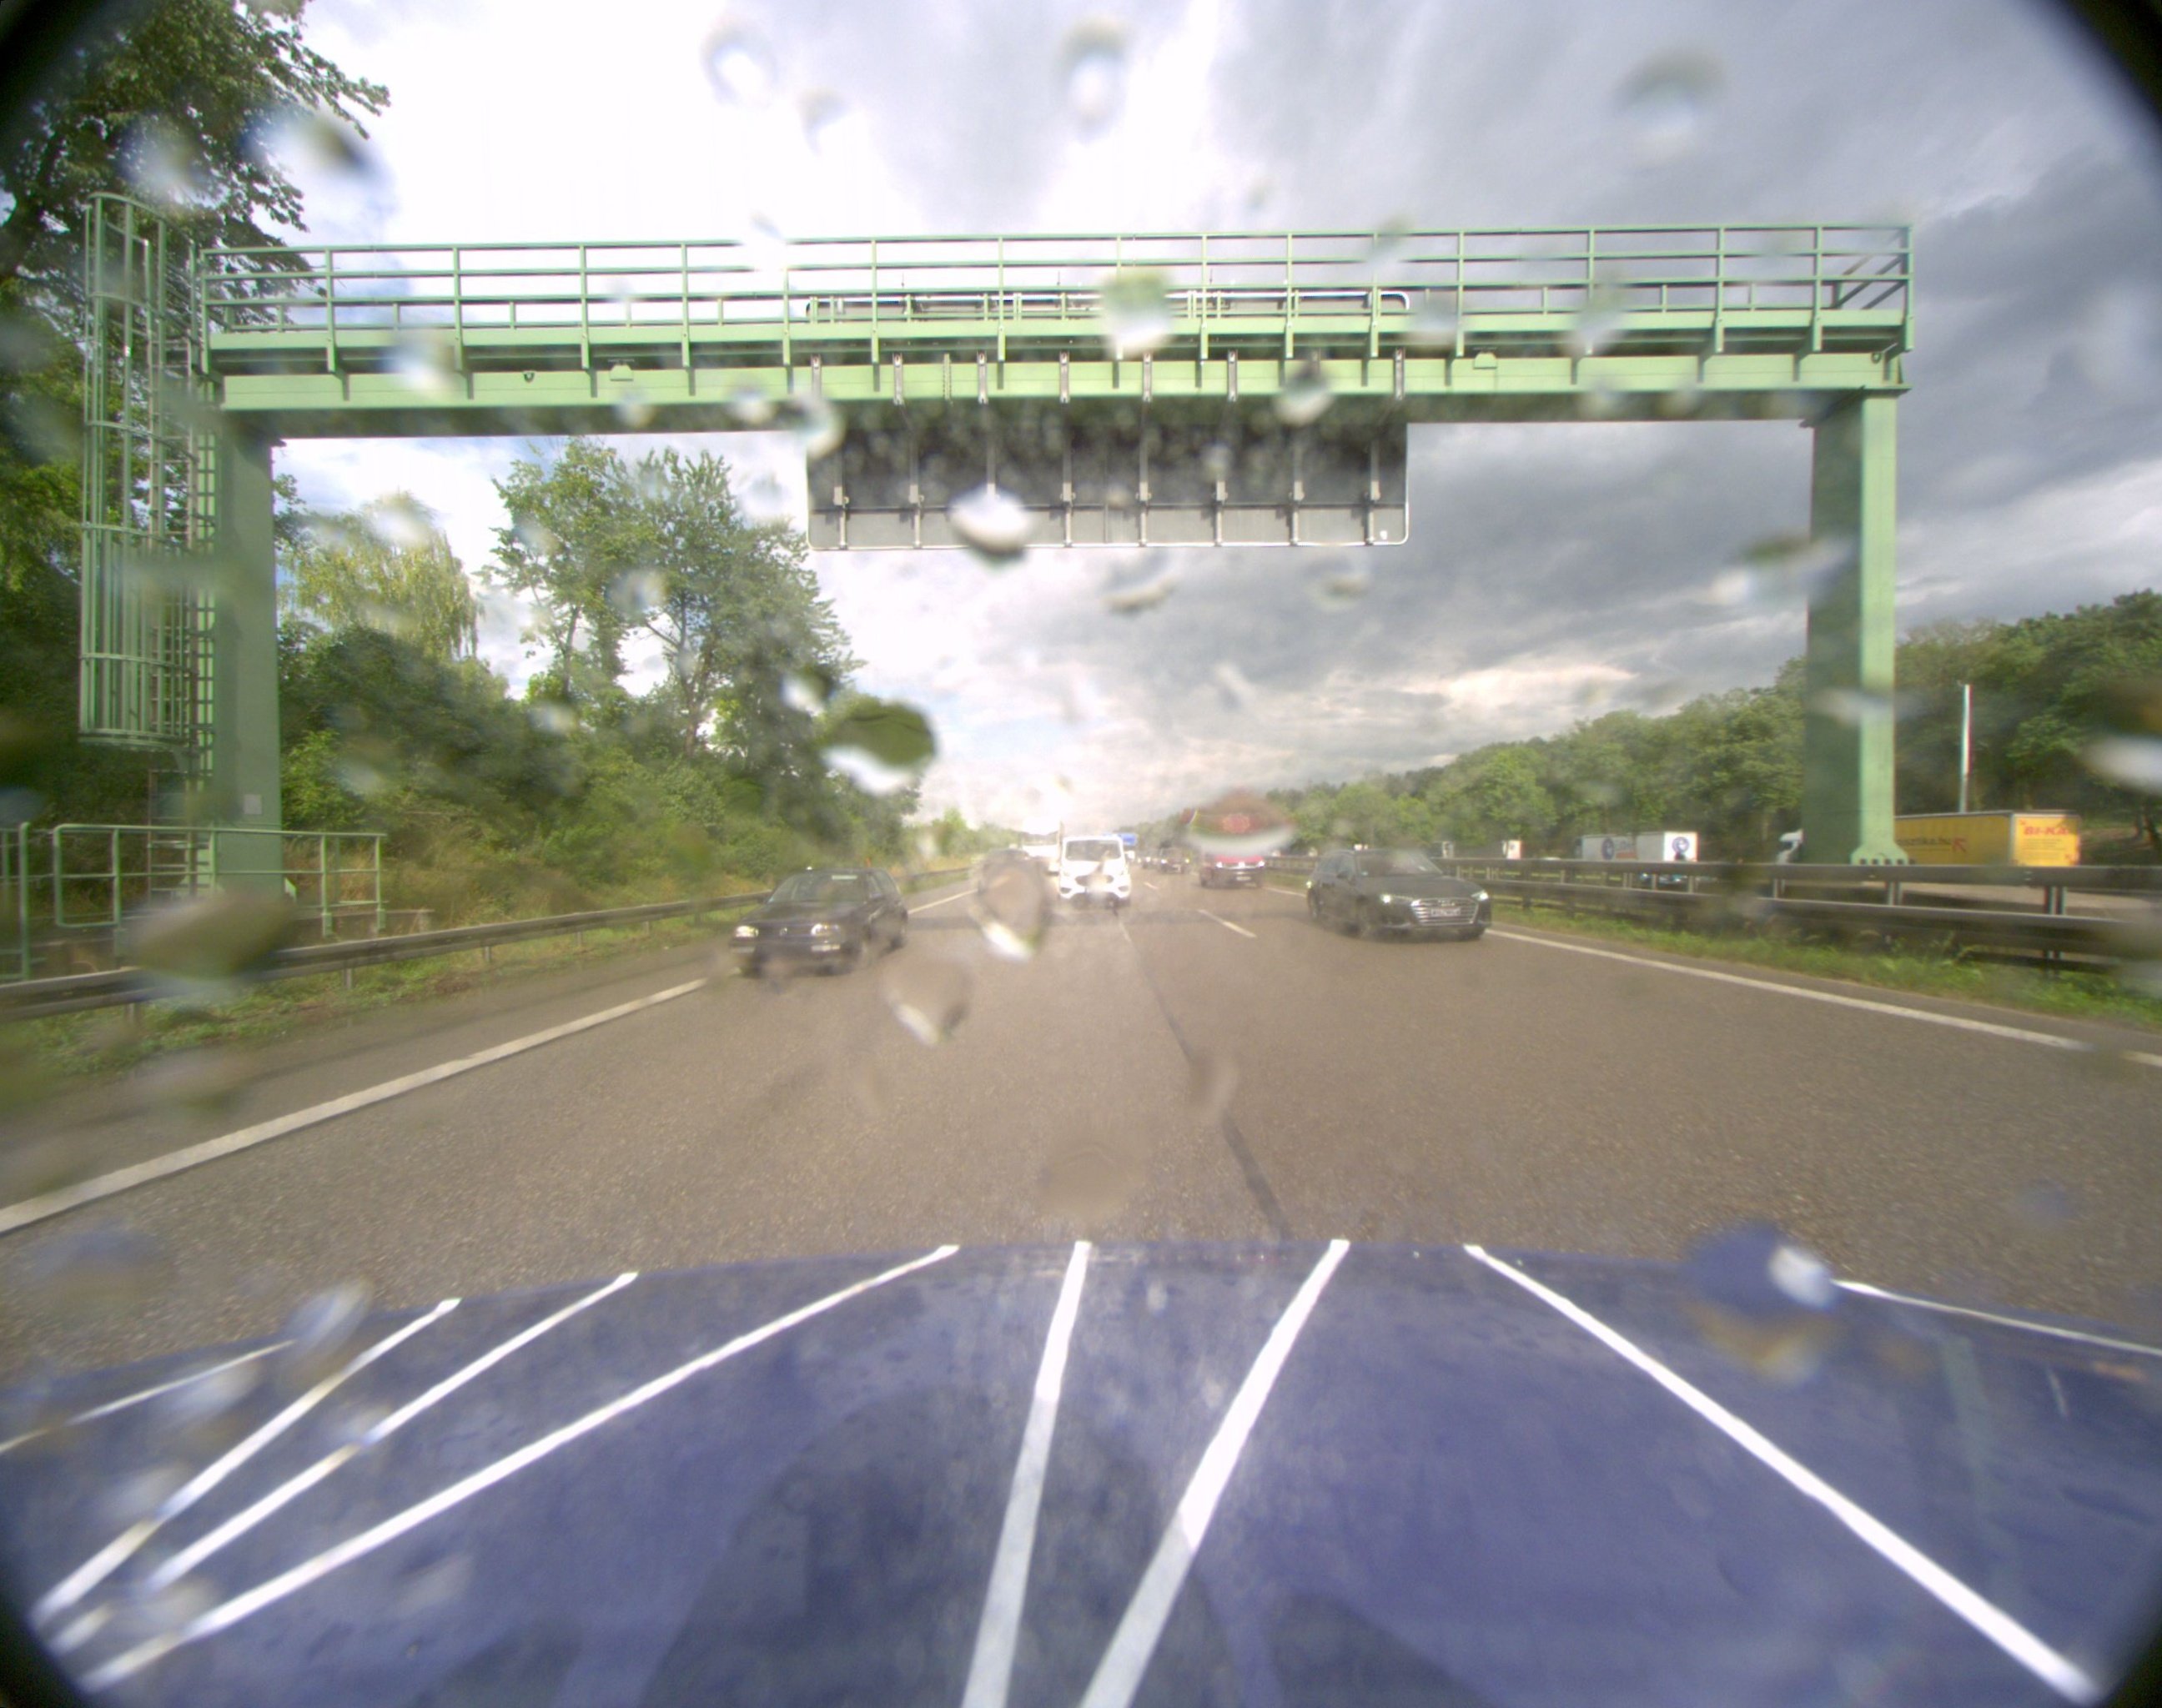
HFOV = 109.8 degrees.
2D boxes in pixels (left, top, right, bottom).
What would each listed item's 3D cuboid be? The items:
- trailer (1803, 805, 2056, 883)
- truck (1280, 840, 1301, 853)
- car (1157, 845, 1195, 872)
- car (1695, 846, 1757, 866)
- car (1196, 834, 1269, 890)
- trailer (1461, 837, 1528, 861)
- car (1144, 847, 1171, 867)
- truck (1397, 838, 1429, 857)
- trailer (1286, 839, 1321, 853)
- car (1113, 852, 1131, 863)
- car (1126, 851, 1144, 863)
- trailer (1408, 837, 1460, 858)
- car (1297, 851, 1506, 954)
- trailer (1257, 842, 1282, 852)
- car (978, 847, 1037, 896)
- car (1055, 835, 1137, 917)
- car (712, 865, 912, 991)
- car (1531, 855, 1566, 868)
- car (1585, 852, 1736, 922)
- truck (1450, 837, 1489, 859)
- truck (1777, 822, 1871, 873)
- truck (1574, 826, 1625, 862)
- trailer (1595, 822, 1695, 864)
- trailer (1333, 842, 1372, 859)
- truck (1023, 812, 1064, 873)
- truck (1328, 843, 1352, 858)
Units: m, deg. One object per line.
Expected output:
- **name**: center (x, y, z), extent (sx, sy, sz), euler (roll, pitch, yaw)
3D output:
- **trailer**: center (46.724, -0.619, 42.865), extent (1.996, 3.673, 13.669), euler (-2, 1, 13)
- **truck**: center (52.501, -1.865, 190.752), extent (3.082, 3.237, 6.093), euler (0, 1, -6)
- **car**: center (6.139, 0.274, 49.519), extent (1.895, 1.660, 4.294), euler (-1, 1, 0)
- **car**: center (50.924, 0.144, 60.082), extent (1.898, 1.494, 4.002), euler (0, 1, 8)
- **car**: center (5.834, 0.287, 29.862), extent (1.895, 1.973, 4.750), euler (-2, 0, 0)
- **trailer**: center (56.779, -0.685, 104.758), extent (3.026, 3.174, 12.175), euler (0, 0, 2)
- **car**: center (6.525, 0.236, 65.067), extent (1.895, 1.558, 4.053), euler (-1, 1, 0)
- **truck**: center (57.115, -1.131, 130.832), extent (2.582, 3.232, 6.535), euler (0, 1, 0)
- **trailer**: center (53.376, -2.011, 183.010), extent (3.086, 3.253, 13.400), euler (0, 1, -6)
- **car**: center (4.927, 0.357, 91.236), extent (1.888, 1.228, 4.506), euler (-2, 0, 0)
- **car**: center (5.847, 0.301, 82.211), extent (1.675, 1.228, 3.999), euler (-2, 0, 0)
- **trailer**: center (57.089, -1.055, 123.348), extent (2.611, 3.253, 12.646), euler (0, 1, 0)
- **car**: center (5.234, 0.692, 13.137), extent (1.723, 1.403, 4.467), euler (-2, 1, 0)
- **trailer**: center (50.531, -1.888, 203.506), extent (2.537, 2.559, 9.869), euler (-2, 1, -11)
- **car**: center (-2.907, 0.642, 31.079), extent (1.831, 1.793, 5.305), euler (-1, 0, 0)
- **car**: center (0.388, 0.538, 21.426), extent (1.985, 1.973, 5.168), euler (-2, 0, 0)
- **car**: center (-3.760, 0.950, 11.338), extent (1.655, 1.448, 3.744), euler (-2, 1, -1)
- **car**: center (55.009, 0.873, 89.499), extent (1.899, 1.494, 4.001), euler (0, 1, 5)
- **car**: center (18.754, 0.975, 24.856), extent (1.836, 2.002, 4.000), euler (-3, 0, 1)
- **truck**: center (56.996, -0.904, 111.669), extent (3.049, 3.165, 5.597), euler (0, 1, 2)
- **truck**: center (48.248, -0.471, 49.519), extent (1.979, 3.080, 5.080), euler (-2, 1, 13)
- **truck**: center (53.801, -1.061, 79.014), extent (2.167, 3.599, 5.581), euler (0, 1, 8)
- **trailer**: center (52.759, -0.995, 71.564), extent (2.186, 3.579, 11.725), euler (0, 0, 8)
- **trailer**: center (56.299, -0.757, 158.147), extent (3.193, 3.253, 12.644), euler (0, 1, -2)
- **truck**: center (-2.636, -0.814, 54.837), extent (2.460, 4.080, 5.332), euler (-2, 0, 0)
- **truck**: center (56.058, -0.828, 164.828), extent (3.182, 3.237, 5.389), euler (1, 1, -2)
